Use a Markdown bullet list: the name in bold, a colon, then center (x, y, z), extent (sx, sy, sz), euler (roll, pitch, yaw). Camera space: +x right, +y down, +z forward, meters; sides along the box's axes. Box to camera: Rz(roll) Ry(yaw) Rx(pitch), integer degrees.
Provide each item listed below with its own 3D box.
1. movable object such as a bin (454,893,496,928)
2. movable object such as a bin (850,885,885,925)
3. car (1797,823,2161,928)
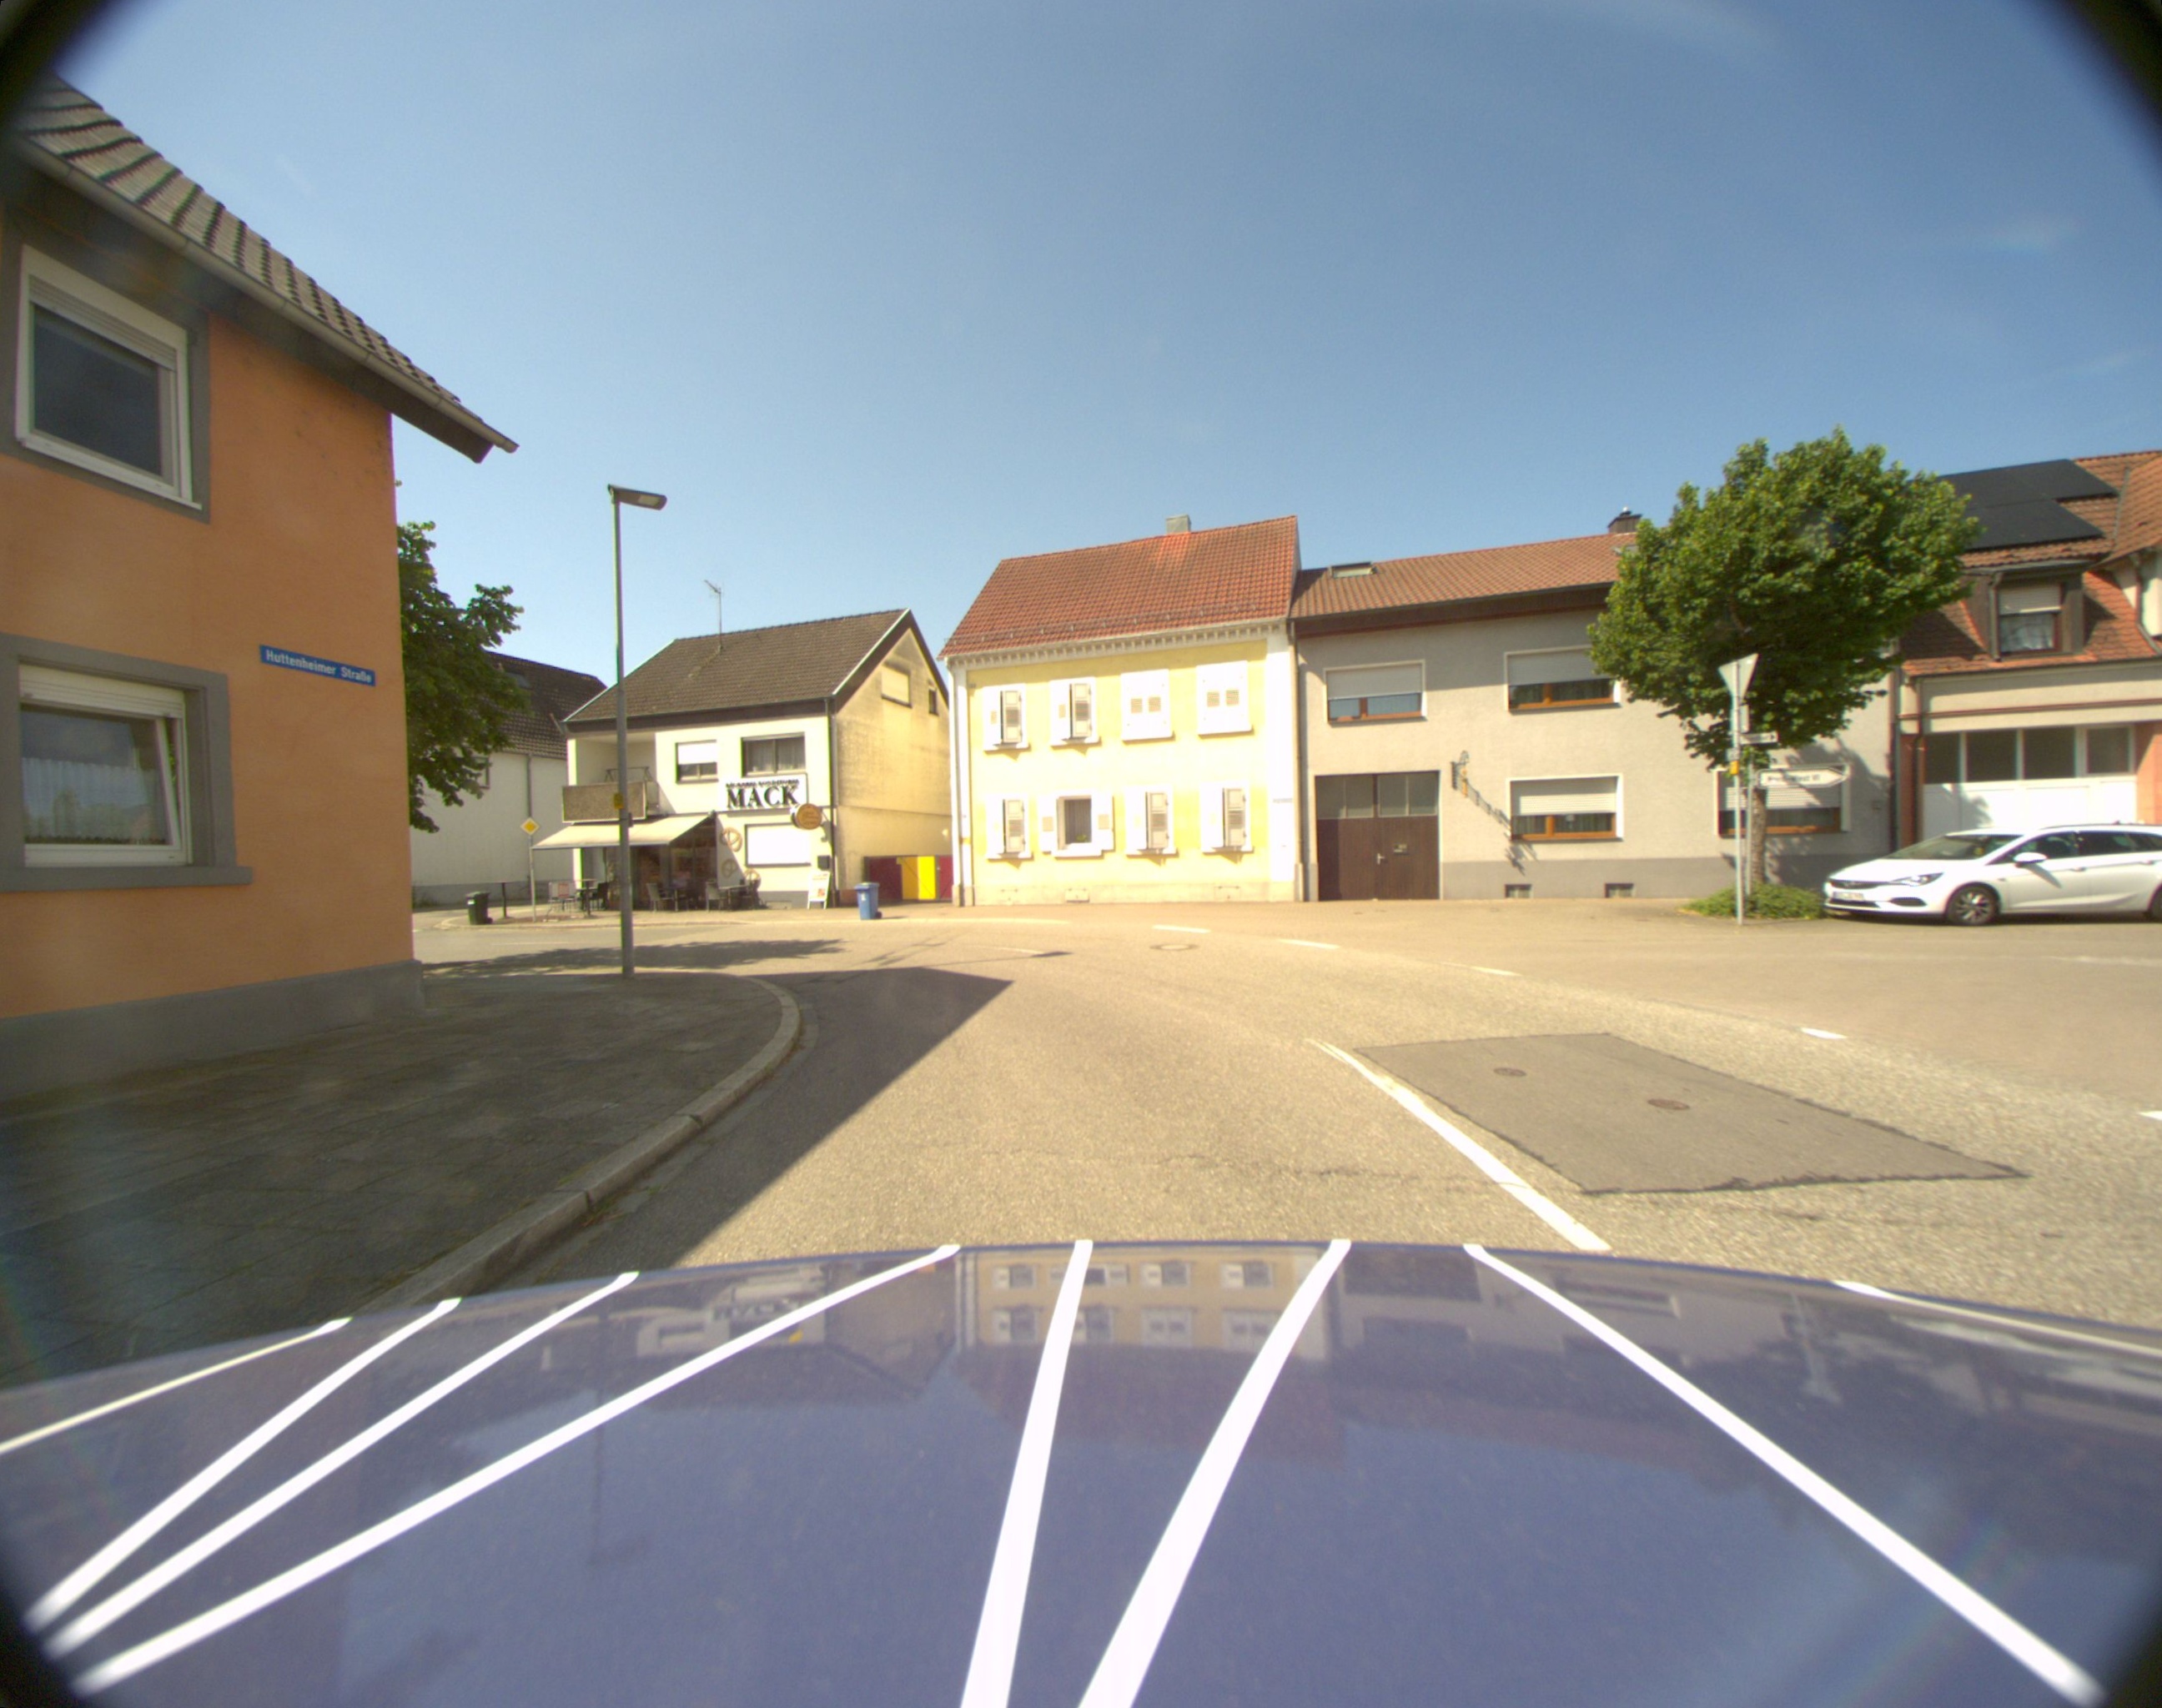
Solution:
- **movable object such as a bin**: center (-17.144, 1.597, 21.490), extent (0.613, 0.919, 0.645), euler (-2, 1, 6)
- **movable object such as a bin**: center (-5.466, 1.302, 19.509), extent (0.613, 0.975, 0.645), euler (-2, 1, 9)
- **car**: center (14.388, 0.305, 11.848), extent (4.508, 1.432, 1.856), euler (-1, 0, 5)
